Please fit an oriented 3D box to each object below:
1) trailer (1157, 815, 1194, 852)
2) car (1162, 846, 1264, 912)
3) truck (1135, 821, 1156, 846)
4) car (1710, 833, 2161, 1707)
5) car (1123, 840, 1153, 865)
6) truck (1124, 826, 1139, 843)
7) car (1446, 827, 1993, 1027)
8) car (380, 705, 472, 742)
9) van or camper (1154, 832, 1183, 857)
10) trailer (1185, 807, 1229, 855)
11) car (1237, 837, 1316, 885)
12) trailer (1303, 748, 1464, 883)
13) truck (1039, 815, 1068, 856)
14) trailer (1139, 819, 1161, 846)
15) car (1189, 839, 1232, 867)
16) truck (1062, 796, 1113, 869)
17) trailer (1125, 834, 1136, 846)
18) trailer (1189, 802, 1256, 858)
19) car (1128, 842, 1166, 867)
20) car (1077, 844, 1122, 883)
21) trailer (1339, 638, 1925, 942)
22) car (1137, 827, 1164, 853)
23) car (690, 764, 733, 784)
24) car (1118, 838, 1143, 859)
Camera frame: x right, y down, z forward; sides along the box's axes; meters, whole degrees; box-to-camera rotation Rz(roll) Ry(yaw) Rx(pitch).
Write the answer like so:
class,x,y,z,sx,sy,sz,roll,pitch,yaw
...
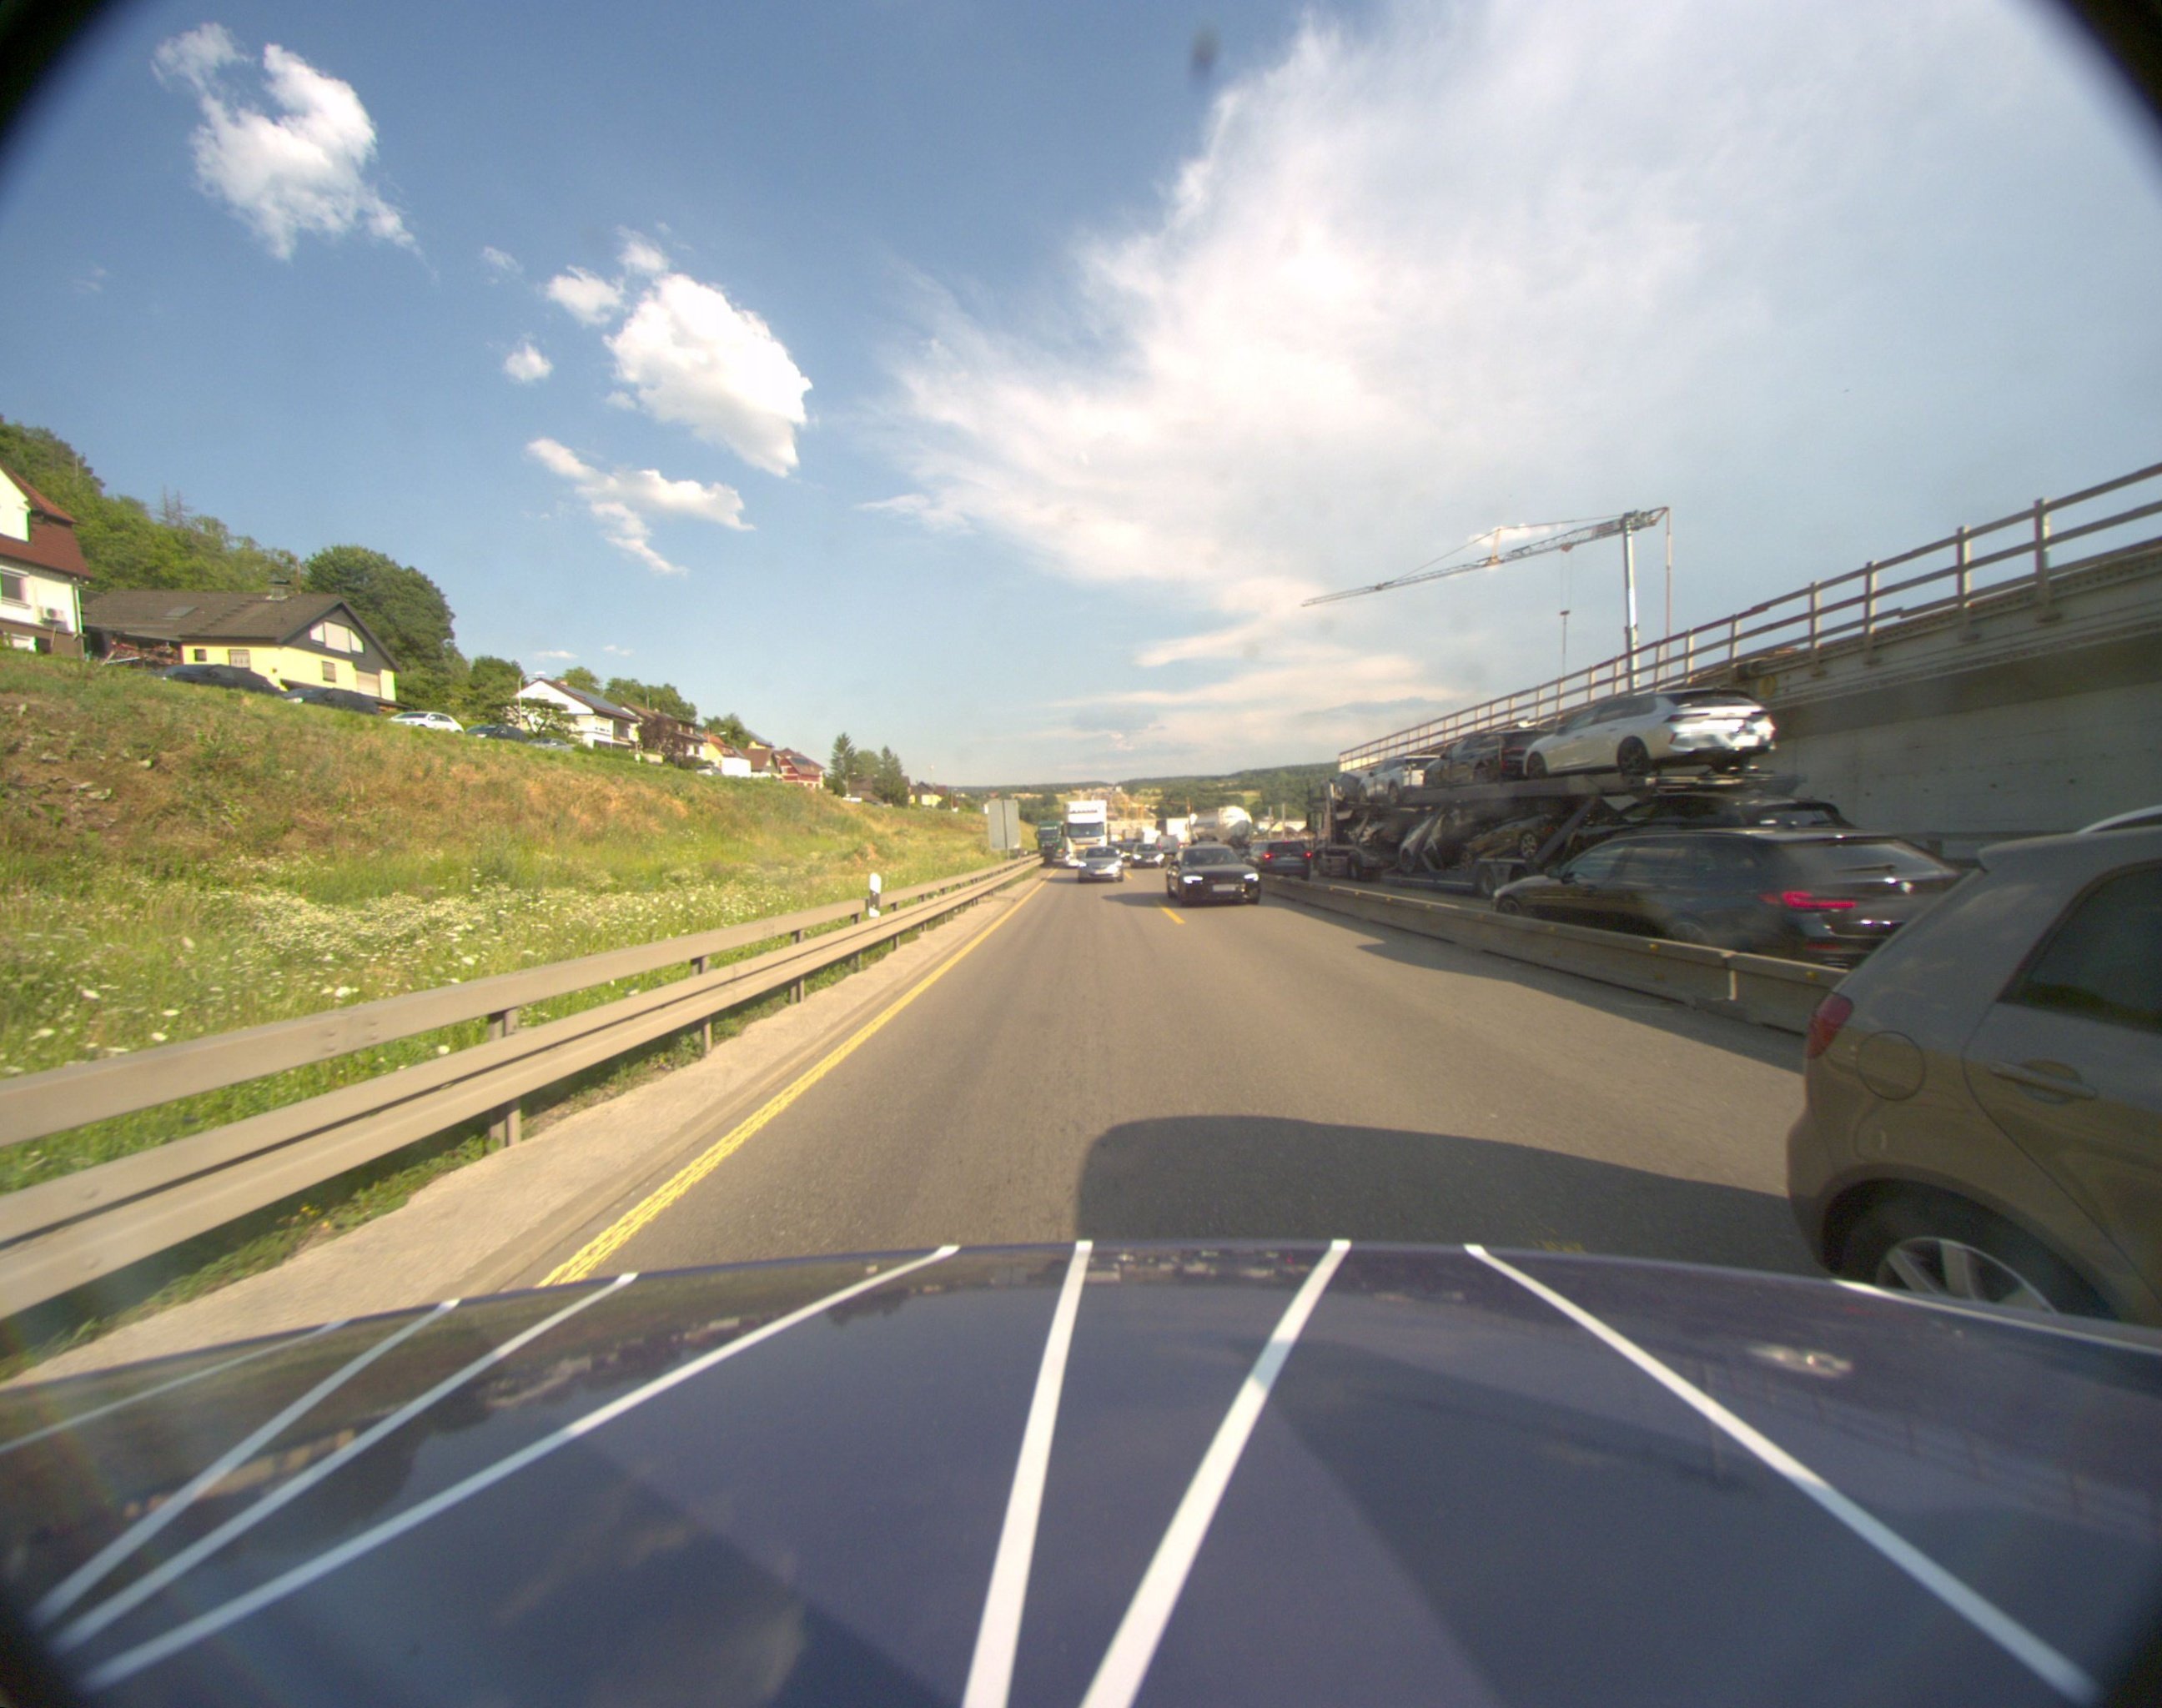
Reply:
class,x,y,z,sx,sy,sz,roll,pitch,yaw
trailer,11.313,-2.497,92.537,2.932,4.014,13.771,-2,1,1
car,3.225,0.552,19.467,1.873,1.411,4.348,-1,1,1
truck,11.516,-3.692,136.214,2.834,4.239,10.070,-2,1,1
car,2.744,0.803,0.168,1.685,1.580,4.270,-1,2,0
car,4.283,-0.131,57.450,1.998,1.740,3.999,-1,1,0
truck,11.901,-4.606,179.963,2.873,4.038,7.597,-2,1,1
car,6.436,0.543,8.628,1.771,1.543,4.832,-2,1,-7
car,-32.316,-6.423,37.603,1.347,1.225,3.898,-2,1,-5
van or camper,7.585,-0.870,66.331,1.863,2.002,5.294,-2,1,-1
trailer,10.774,-1.967,65.639,2.659,3.829,6.427,-2,2,0
car,7.017,0.188,27.691,1.761,1.569,4.338,-2,1,1
trailer,10.269,-1.246,26.733,2.778,4.008,7.206,-2,2,1
truck,-2.860,-1.947,79.624,2.547,3.993,6.070,-2,2,1
trailer,11.459,-3.508,126.790,2.834,4.259,8.733,-2,1,1
car,7.446,-0.100,44.111,1.713,1.437,4.599,-2,1,1
truck,0.487,-1.381,49.896,2.741,4.034,12.668,-2,1,1
trailer,8.074,-2.296,124.176,1.452,1.843,2.983,-2,2,1
trailer,10.732,-1.817,59.374,2.659,3.829,13.439,-2,1,0
car,3.734,-0.002,43.508,1.692,1.294,3.882,-2,1,-1
car,0.729,0.356,30.684,1.671,1.425,3.523,-1,1,1
trailer,10.180,-1.041,18.202,2.778,4.008,15.759,-2,1,1
car,7.428,-1.566,82.302,1.999,2.608,7.407,-2,1,-1
car,-34.575,-7.504,71.193,1.998,1.434,3.999,-2,1,1
car,4.329,-0.507,66.919,1.918,1.746,3.999,-1,0,0
